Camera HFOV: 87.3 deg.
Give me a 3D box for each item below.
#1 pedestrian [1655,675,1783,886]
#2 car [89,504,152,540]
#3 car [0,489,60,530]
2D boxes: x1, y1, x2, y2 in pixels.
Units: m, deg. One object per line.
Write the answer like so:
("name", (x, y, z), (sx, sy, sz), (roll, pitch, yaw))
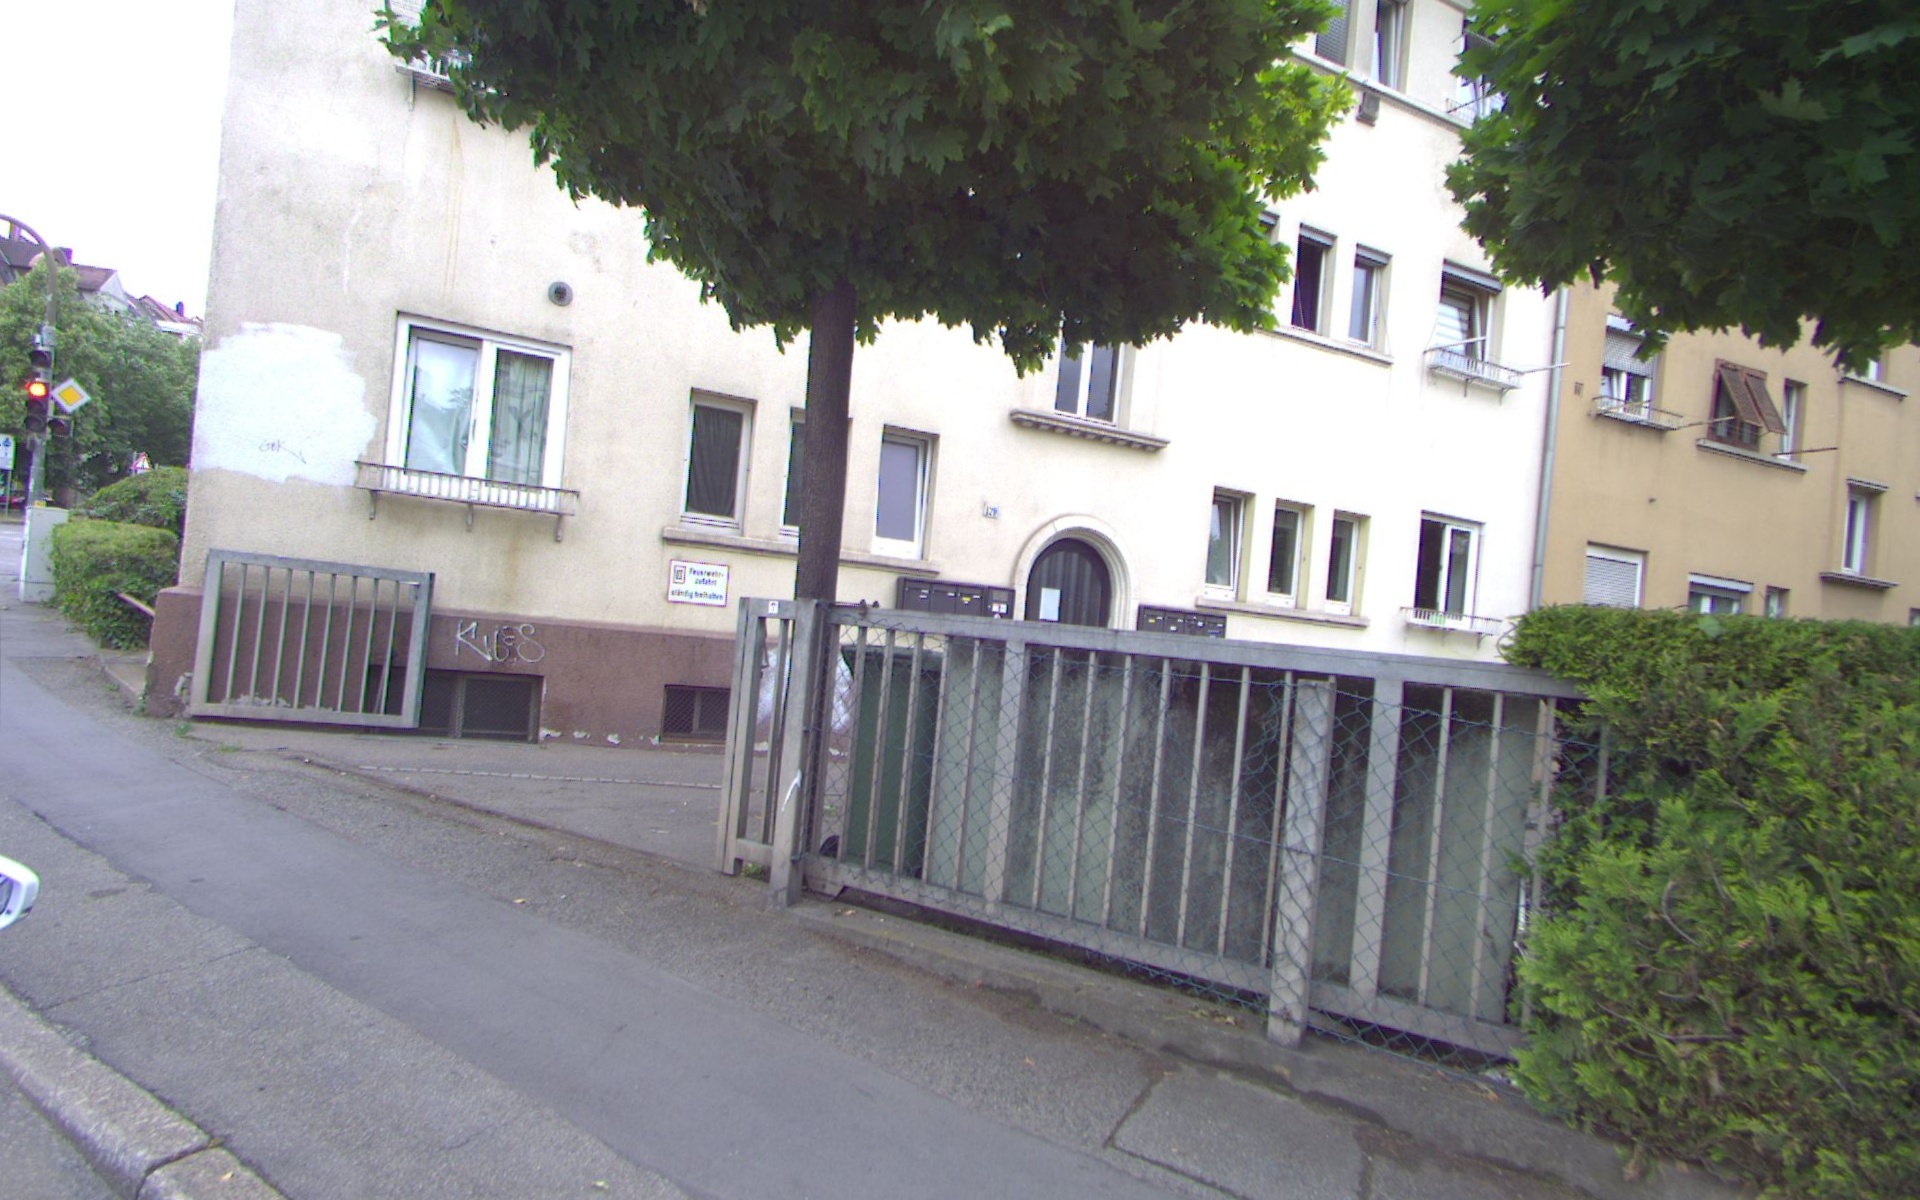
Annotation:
("pedestrian", (6.857, 1.602, 9.121), (0.683, 1.760, 0.466), (7, 2, 28))
("car", (-64.033, -5.912, 76.798), (1.970, 2.036, 3.992), (9, -3, -14))
("car", (-61.187, -5.930, 65.553), (1.970, 2.036, 3.992), (9, -3, -14))
